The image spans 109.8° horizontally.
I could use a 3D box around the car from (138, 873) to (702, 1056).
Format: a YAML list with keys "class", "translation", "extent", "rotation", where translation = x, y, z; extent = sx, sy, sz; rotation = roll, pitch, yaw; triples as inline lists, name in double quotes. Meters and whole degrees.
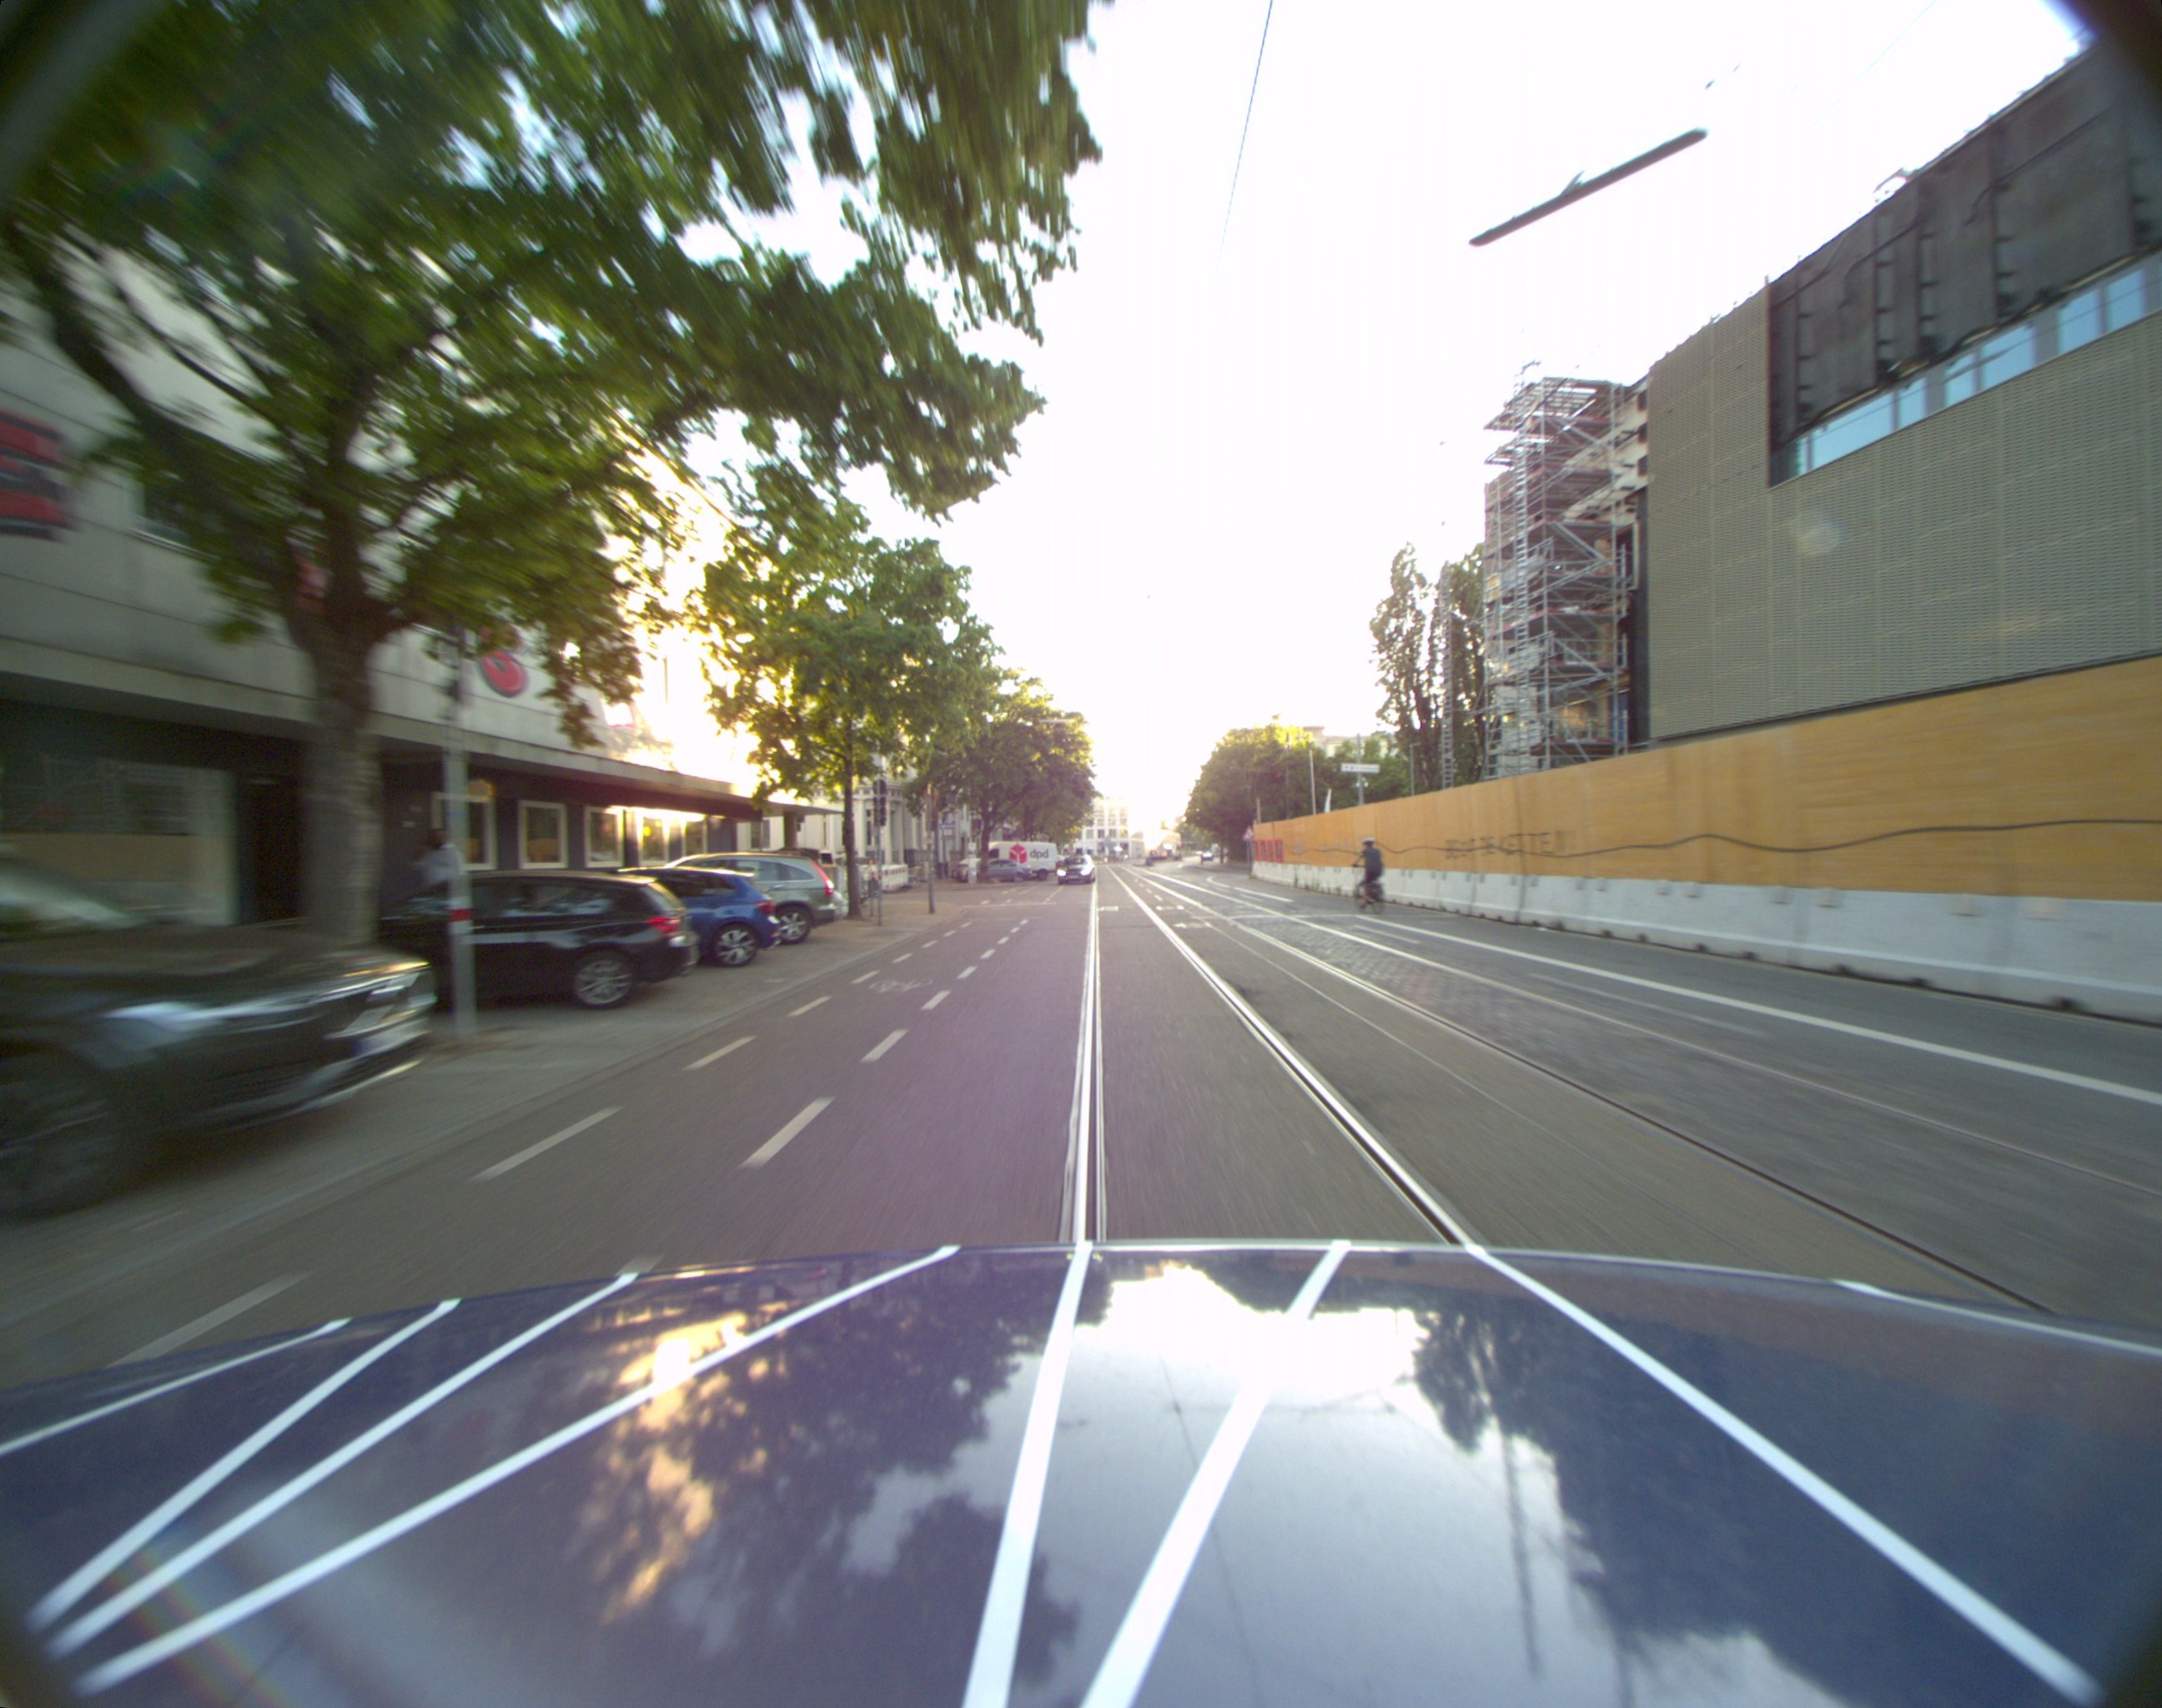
- class: "car"
  translation: [-6.395, 0.990, 8.123]
  extent: [4.174, 1.456, 1.967]
  rotation: [1, 0, -27]

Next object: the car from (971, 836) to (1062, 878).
- class: "car"
  translation: [-4.230, 0.176, 50.576]
  extent: [5.650, 2.678, 2.166]
  rotation: [-1, 0, -33]

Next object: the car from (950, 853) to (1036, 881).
- class: "car"
  translation: [-5.079, 0.772, 44.050]
  extent: [4.615, 1.504, 1.858]
  rotation: [1, -1, -27]

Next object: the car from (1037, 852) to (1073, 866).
- class: "car"
  translation: [-3.404, 0.627, 99.075]
  extent: [4.217, 1.600, 1.740]
  rotation: [-2, 1, -28]

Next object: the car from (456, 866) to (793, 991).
- class: "car"
  translation: [-6.421, 0.967, 11.098]
  extent: [3.901, 1.493, 1.809]
  rotation: [1, 0, -29]

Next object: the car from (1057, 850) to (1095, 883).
- class: "car"
  translation: [-0.240, 0.656, 42.541]
  extent: [1.840, 1.631, 4.169]
  rotation: [-5, 0, 2]

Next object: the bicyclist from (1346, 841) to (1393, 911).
- class: "bicyclist"
  translation: [7.056, 0.529, 18.633]
  extent: [0.770, 1.656, 1.018]
  rotation: [-1, 1, 1]

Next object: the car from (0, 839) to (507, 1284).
- class: "car"
  translation: [-6.258, 0.830, 3.744]
  extent: [4.984, 1.816, 2.204]
  rotation: [1, 0, -17]

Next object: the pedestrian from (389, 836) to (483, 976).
- class: "pedestrian"
  translation: [-9.435, 0.733, 11.146]
  extent: [0.693, 1.974, 0.786]
  rotation: [1, 1, 1]

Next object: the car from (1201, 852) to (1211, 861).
- class: "car"
  translation: [25.881, 0.539, 156.957]
  extent: [1.997, 1.674, 4.003]
  rotation: [-1, 0, 11]

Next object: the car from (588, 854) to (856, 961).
- class: "car"
  translation: [-6.470, 0.879, 13.826]
  extent: [4.176, 1.654, 1.837]
  rotation: [1, 0, -33]

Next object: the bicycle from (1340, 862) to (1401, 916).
- class: "bicycle"
  translation: [7.060, 0.825, 18.615]
  extent: [0.770, 1.221, 1.936]
  rotation: [-1, 0, 1]
